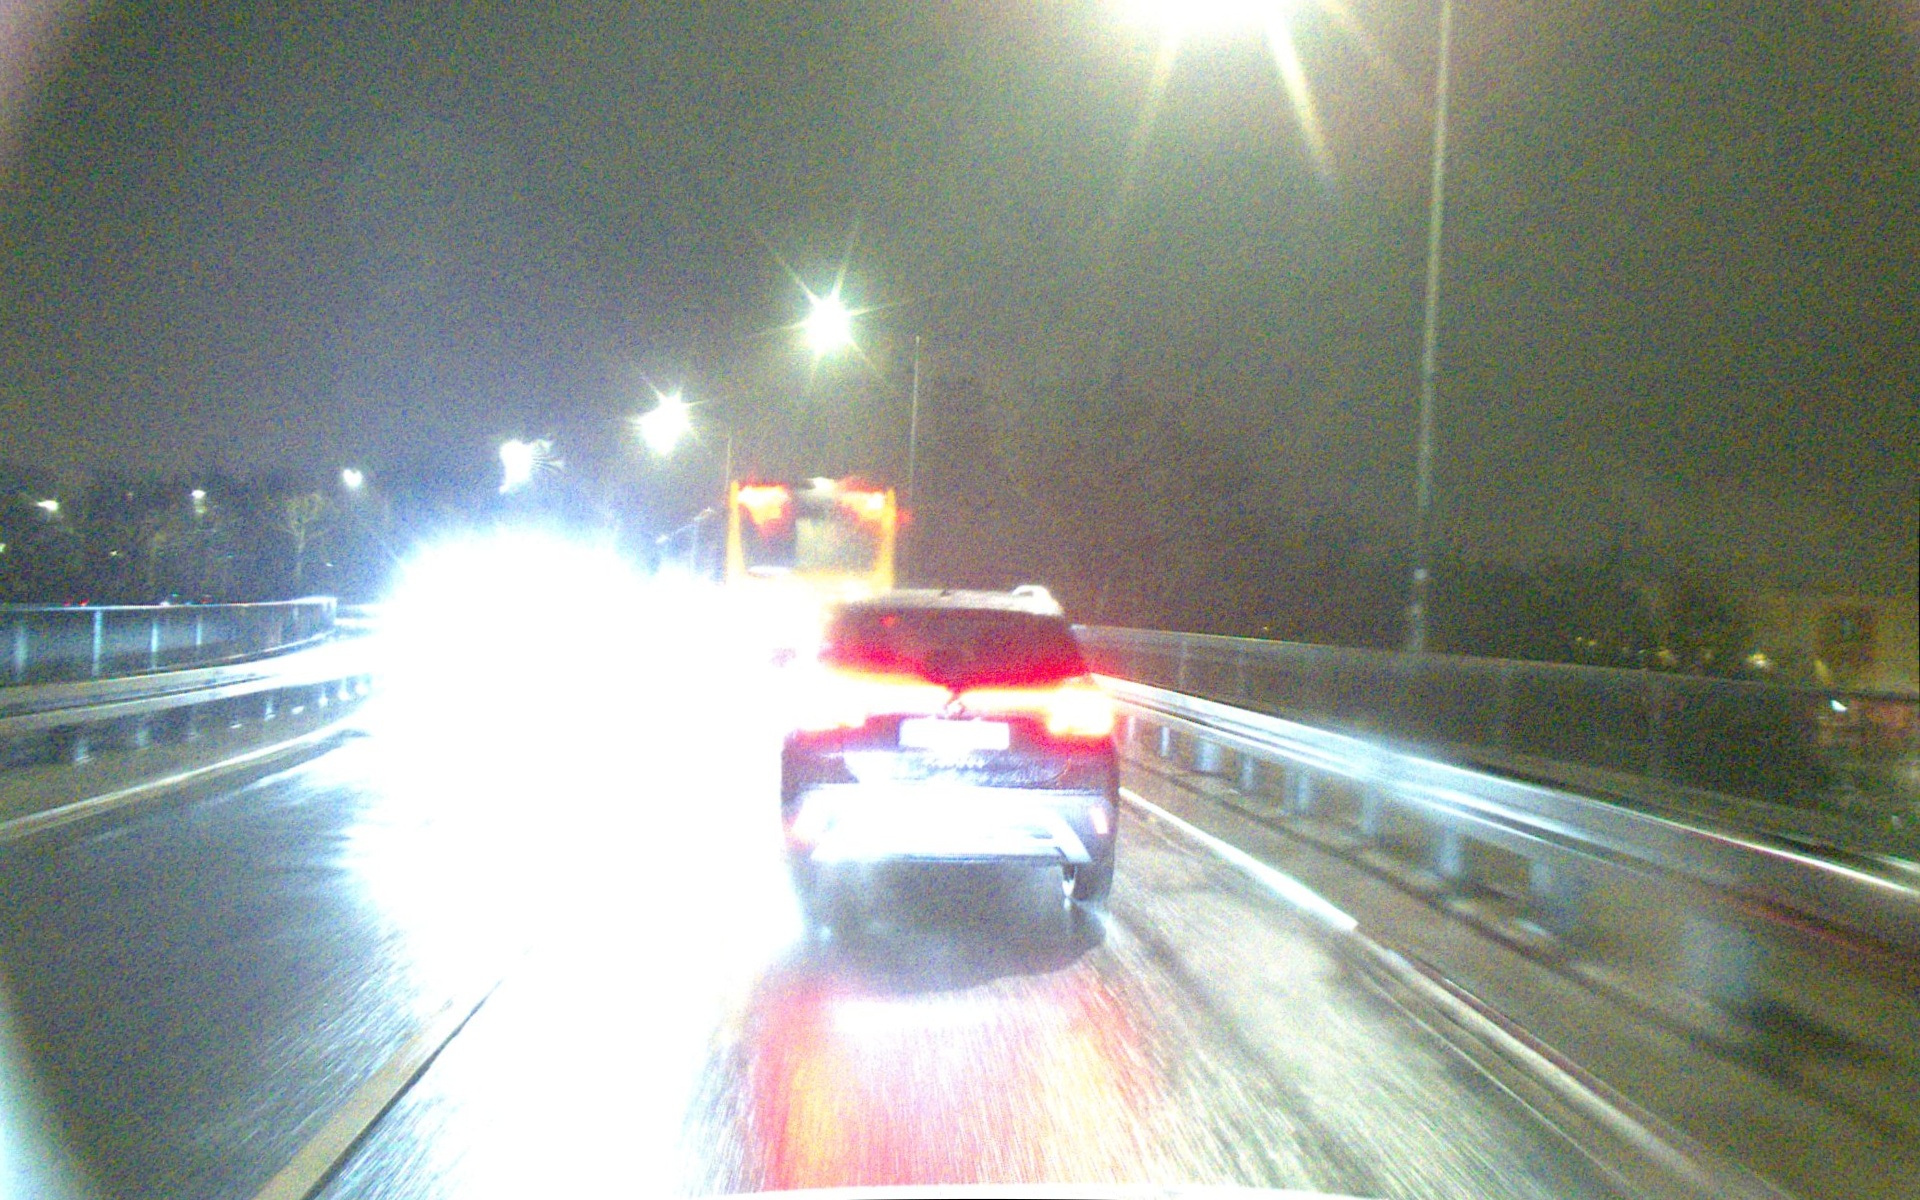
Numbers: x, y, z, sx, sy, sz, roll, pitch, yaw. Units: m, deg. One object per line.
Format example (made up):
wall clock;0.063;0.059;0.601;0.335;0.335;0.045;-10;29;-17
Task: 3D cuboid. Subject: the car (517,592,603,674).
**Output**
car;-9.052;0.701;37.226;1.749;1.734;4.296;0;0;-15

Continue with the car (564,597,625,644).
car;-13.929;0.800;62.911;1.614;1.685;3.682;0;-2;-24

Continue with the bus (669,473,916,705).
bus;-3.399;-0.176;29.241;3.029;3.187;12.659;0;0;-12

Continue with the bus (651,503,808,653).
bus;-5.638;-0.452;39.250;2.996;3.187;8.051;0;0;-13

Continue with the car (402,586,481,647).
car;-19.772;0.625;62.895;2.020;2.208;5.108;0;0;-27

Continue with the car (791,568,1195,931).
car;-0.021;0.687;9.437;1.820;1.614;3.995;1;0;-5

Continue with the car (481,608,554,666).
car;-13.590;1.106;50.673;1.766;1.659;3.968;1;0;-21
